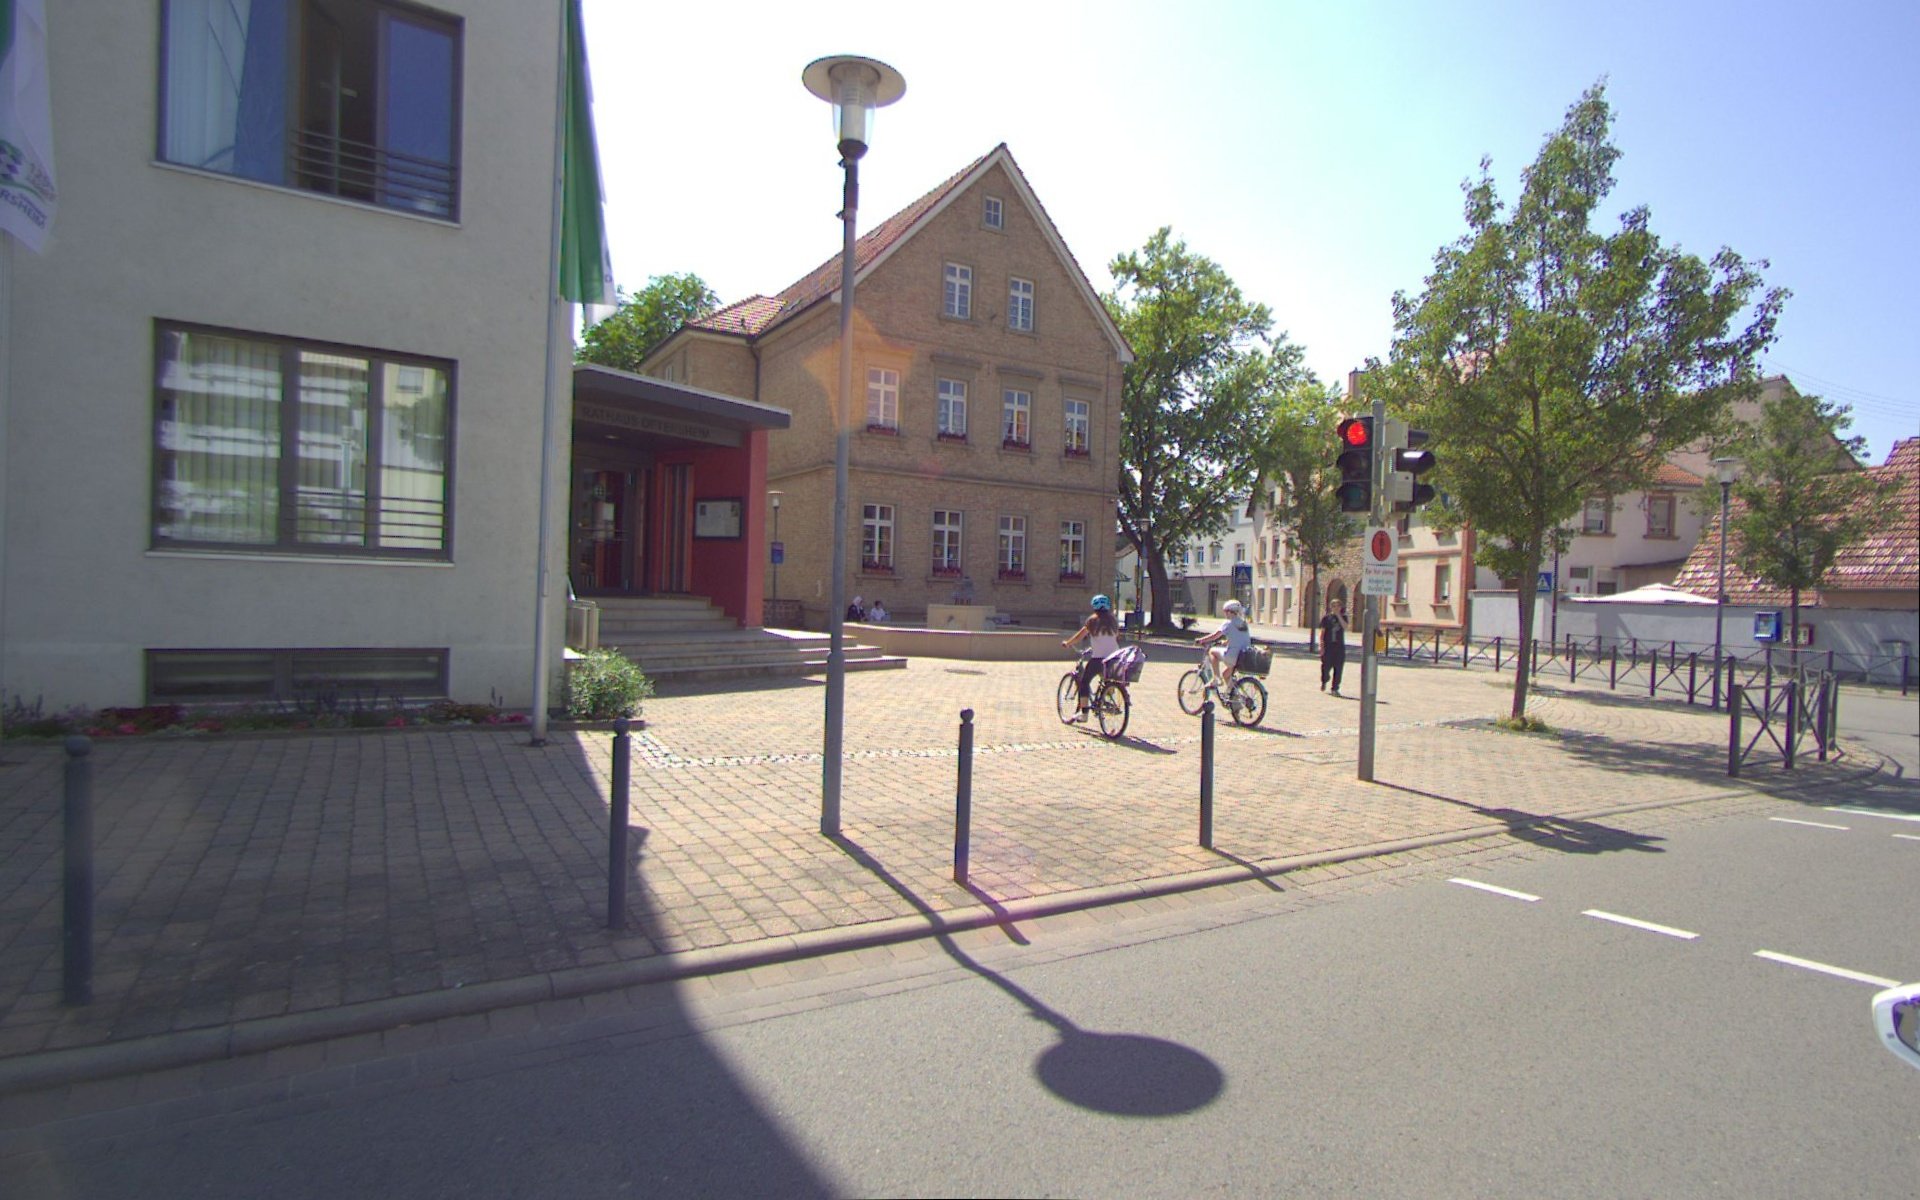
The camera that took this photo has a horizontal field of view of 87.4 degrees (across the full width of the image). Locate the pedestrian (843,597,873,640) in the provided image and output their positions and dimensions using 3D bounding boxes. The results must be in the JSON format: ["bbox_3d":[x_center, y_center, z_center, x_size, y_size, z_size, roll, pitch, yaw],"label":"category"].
[{"bbox_3d":[-2.895,0.526,28.431,0.611,1.186,0.636,2,0,-29],"label":"pedestrian"}]

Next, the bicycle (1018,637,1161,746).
[{"bbox_3d":[1.379,0.967,11.126,0.666,0.971,1.885,2,1,-24],"label":"bicycle"}]

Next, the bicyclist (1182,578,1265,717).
[{"bbox_3d":[3.324,0.584,12.686,0.664,1.686,0.755,1,-1,-33],"label":"bicyclist"}]

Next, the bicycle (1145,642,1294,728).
[{"bbox_3d":[3.256,1.039,12.784,0.669,0.970,1.878,1,-1,-34],"label":"bicycle"}]

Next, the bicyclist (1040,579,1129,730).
[{"bbox_3d":[1.375,0.578,11.139,0.662,1.603,0.757,1,1,-24],"label":"bicyclist"}]

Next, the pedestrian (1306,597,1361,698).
[{"bbox_3d":[6.486,0.803,17.472,0.798,1.676,0.851,3,1,19],"label":"pedestrian"}]

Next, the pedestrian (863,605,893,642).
[{"bbox_3d":[-2.364,0.674,28.870,0.611,1.041,0.636,2,0,-29],"label":"pedestrian"}]
